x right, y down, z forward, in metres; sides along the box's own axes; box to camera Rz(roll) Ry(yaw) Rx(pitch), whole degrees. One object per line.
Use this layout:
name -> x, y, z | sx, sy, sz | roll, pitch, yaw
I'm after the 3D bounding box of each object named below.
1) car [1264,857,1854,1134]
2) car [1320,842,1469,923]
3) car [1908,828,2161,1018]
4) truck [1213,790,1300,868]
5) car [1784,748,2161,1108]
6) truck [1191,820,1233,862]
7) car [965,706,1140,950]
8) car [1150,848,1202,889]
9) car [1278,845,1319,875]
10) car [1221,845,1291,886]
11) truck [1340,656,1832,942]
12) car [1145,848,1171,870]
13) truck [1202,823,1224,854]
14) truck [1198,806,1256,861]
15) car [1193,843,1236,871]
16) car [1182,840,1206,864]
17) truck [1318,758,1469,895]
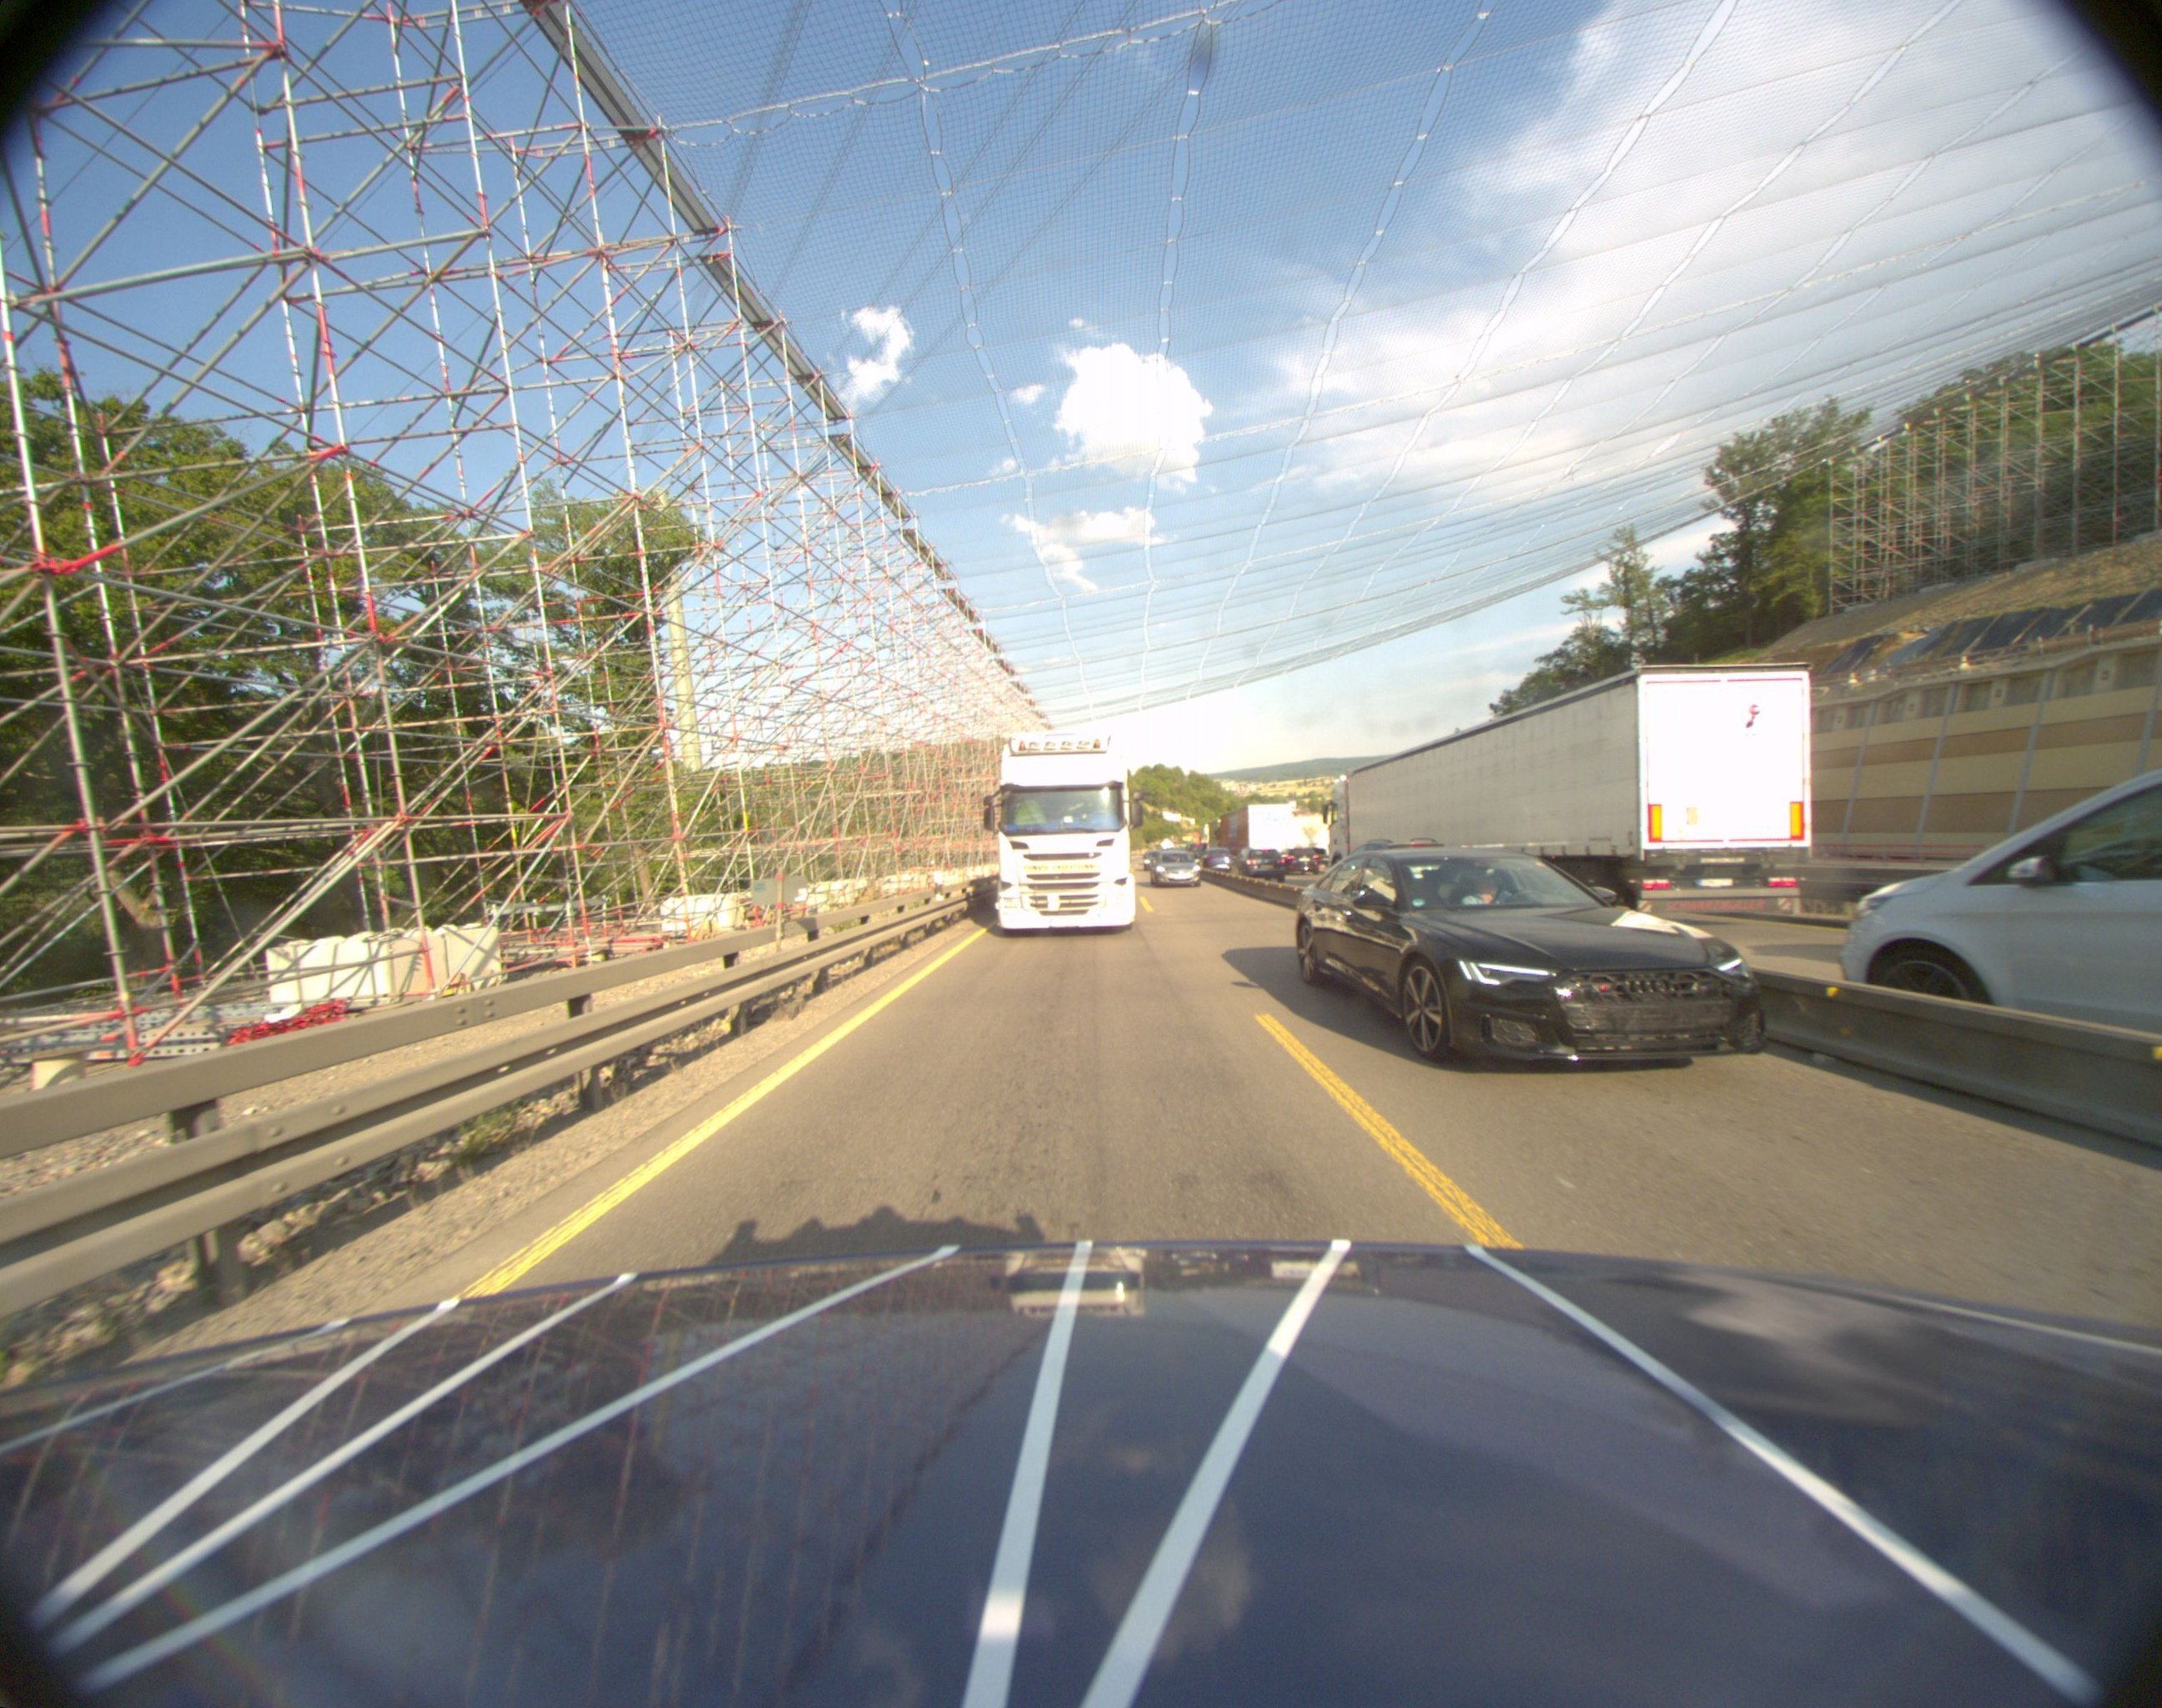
car -> 3.208, 0.779, 6.613 | 1.939, 1.390, 4.960 | -2, 0, -1
car -> 6.865, 0.540, 17.127 | 1.586, 1.543, 4.218 | -2, 1, 0
car -> 9.823, 0.564, 5.744 | 1.796, 1.531, 4.908 | -2, 1, 0
truck -> 11.956, -1.606, 53.853 | 2.994, 4.532, 17.408 | -2, 1, 3
car -> 6.465, 0.357, 3.356 | 1.813, 1.858, 5.281 | -2, 1, 0
truck -> 15.916, -1.578, 93.709 | 2.994, 4.532, 17.408 | -2, 1, 3
car -> -0.294, -0.490, 17.194 | 2.858, 4.092, 8.281 | -2, 1, 3
car -> 3.770, 0.516, 30.796 | 1.759, 1.464, 4.353 | -2, 1, 3
car -> 11.297, 0.277, 39.616 | 1.371, 1.407, 3.293 | -2, 1, 3
car -> 7.315, 0.418, 32.298 | 1.939, 1.525, 4.645 | -2, 1, 1
truck -> 10.022, -0.901, 18.505 | 2.728, 4.202, 14.167 | -2, 1, 1
car -> 5.456, 0.332, 54.109 | 1.764, 1.376, 3.823 | -2, 1, 5
truck -> 22.058, -2.557, 127.903 | 3.166, 4.817, 14.365 | -2, 1, 9
truck -> 13.627, -1.846, 72.541 | 2.994, 4.532, 17.408 | -2, 1, 3
car -> 7.829, 0.141, 44.940 | 1.939, 1.510, 4.978 | -2, 1, 3
car -> 9.013, -0.186, 60.898 | 1.725, 1.816, 3.294 | -2, 1, 6
truck -> 10.082, -0.830, 25.203 | 2.522, 3.885, 6.048 | -2, 1, 1
